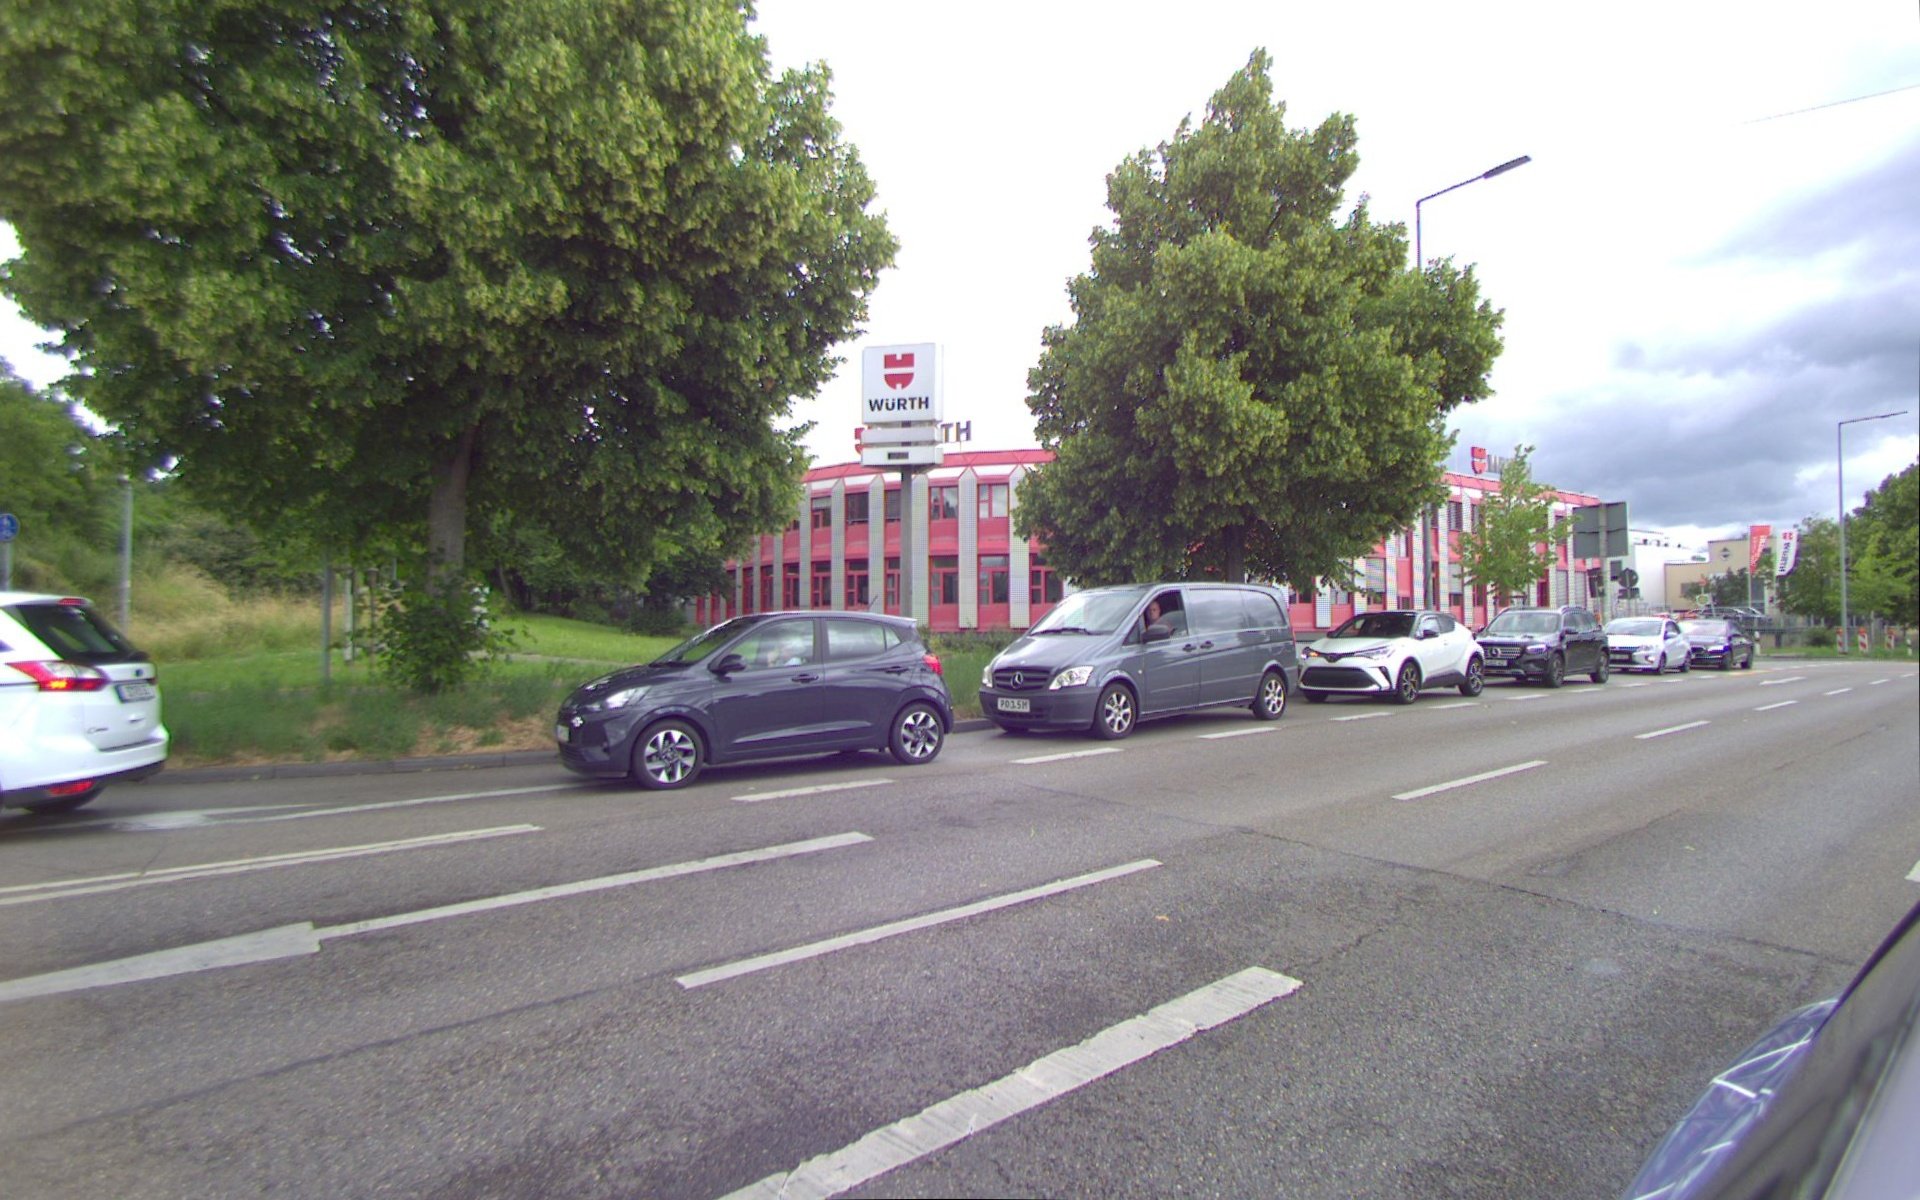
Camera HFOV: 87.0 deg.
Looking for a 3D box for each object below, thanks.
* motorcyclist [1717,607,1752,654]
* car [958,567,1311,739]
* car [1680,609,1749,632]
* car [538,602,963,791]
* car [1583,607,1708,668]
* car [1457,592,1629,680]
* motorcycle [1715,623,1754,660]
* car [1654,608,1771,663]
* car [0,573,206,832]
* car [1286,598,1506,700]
[{"bbox_3d":[25.201,0.994,32.916,0.918,1.510,0.748,2,-3,-45],"label":"motorcyclist"},{"bbox_3d":[2.388,0.620,13.163,4.636,1.858,1.919,0,-3,-39],"label":"car"},{"bbox_3d":[61.813,1.691,82.958,1.752,1.776,4.247,0,0,-39],"label":"car"},{"bbox_3d":[-1.913,0.784,9.494,3.545,1.449,1.625,0,-3,-33],"label":"car"},{"bbox_3d":[18.190,0.996,26.816,3.766,1.461,1.784,3,-1,-40],"label":"car"},{"bbox_3d":[12.481,0.758,21.568,4.346,1.671,1.784,3,-1,-40],"label":"car"},{"bbox_3d":[25.166,1.327,32.869,1.911,1.162,0.748,2,-3,-45],"label":"motorcycle"},{"bbox_3d":[22.218,1.059,29.815,4.446,1.464,1.784,3,-1,-40],"label":"car"},{"bbox_3d":[-7.871,0.703,6.622,4.365,1.616,1.786,-1,-3,-20],"label":"car"},{"bbox_3d":[7.590,0.797,17.446,4.230,1.555,1.783,0,-3,-41],"label":"car"}]
